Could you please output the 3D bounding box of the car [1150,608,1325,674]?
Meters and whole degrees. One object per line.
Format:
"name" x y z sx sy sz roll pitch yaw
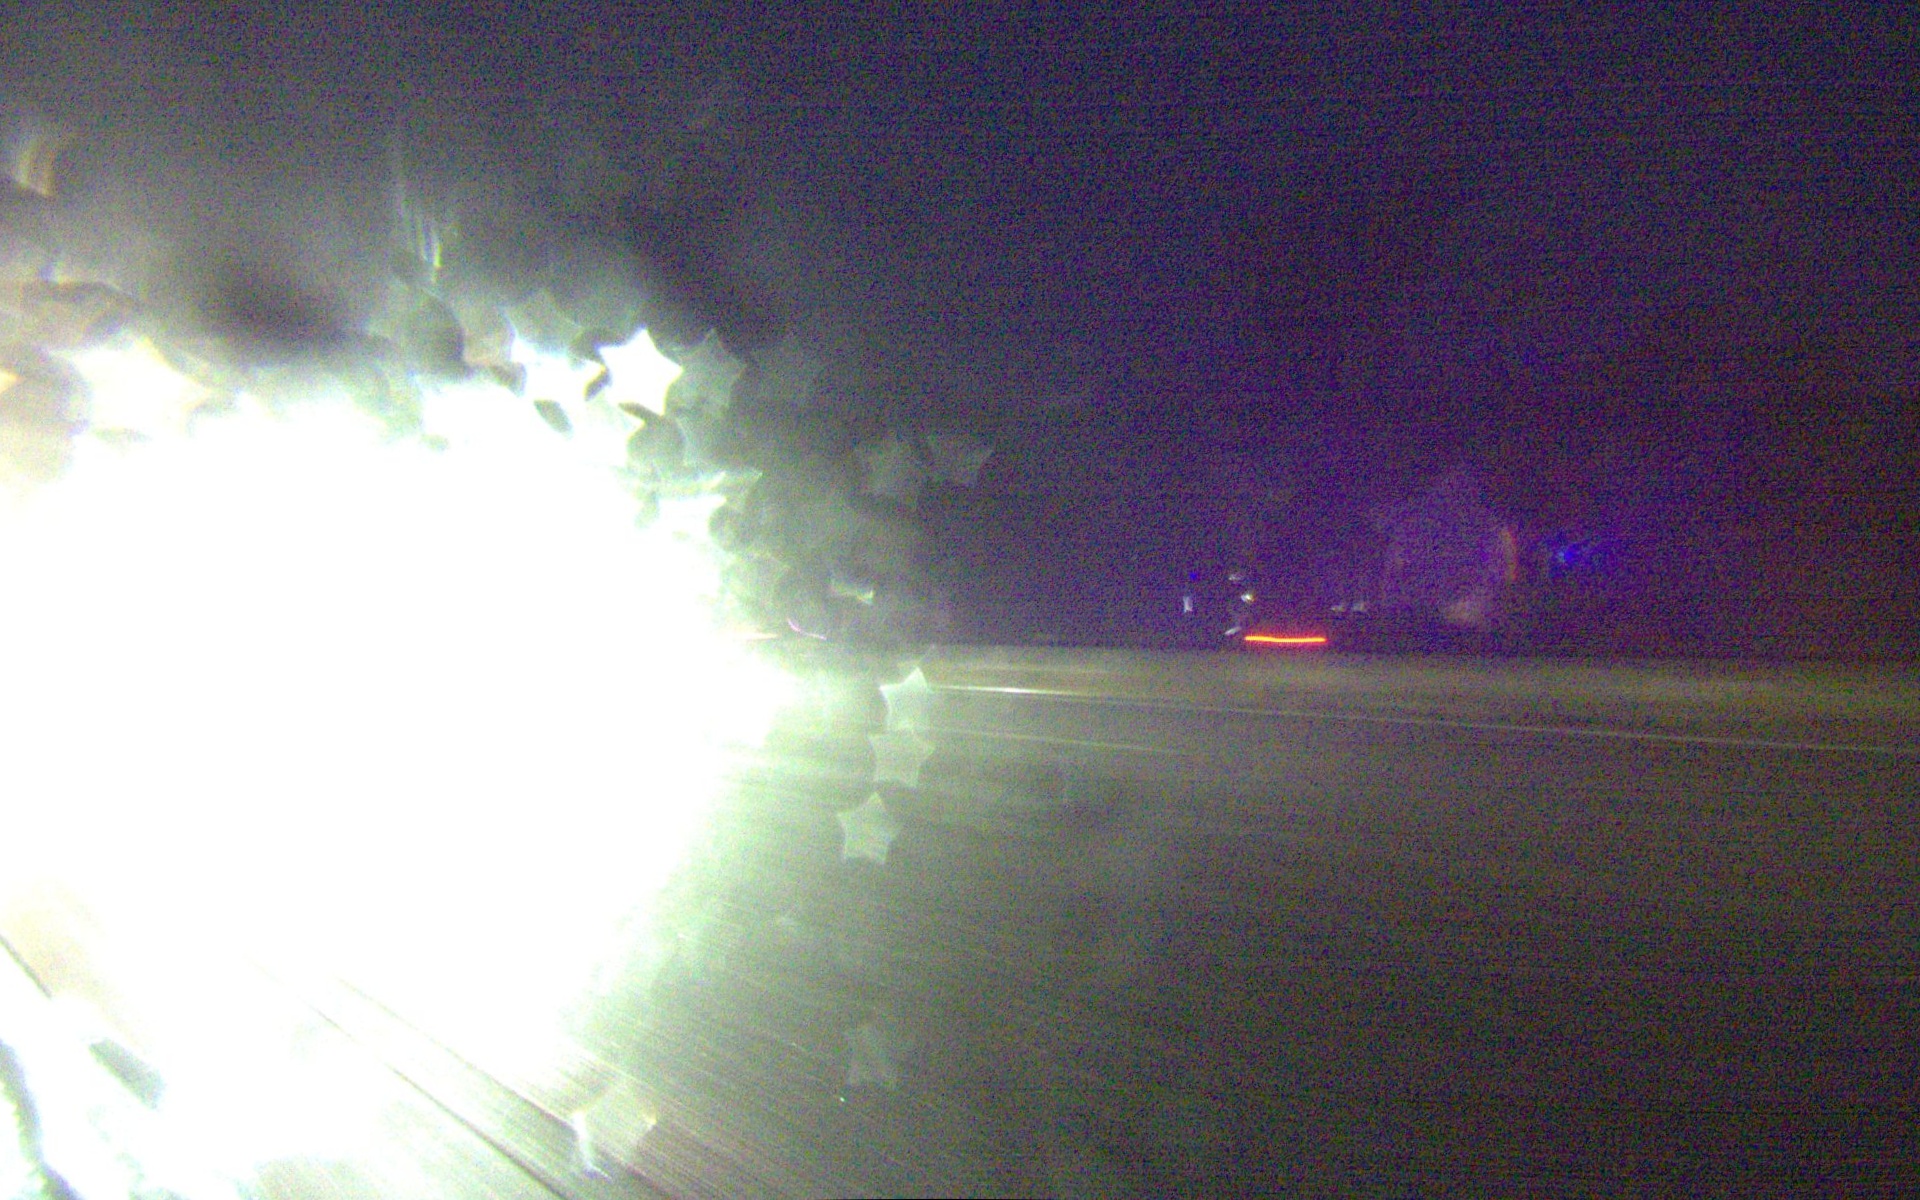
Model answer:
"car" 7.963 1.127 29.310 4.562 1.734 1.860 -1 0 42

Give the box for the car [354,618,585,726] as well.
"car" -7.979 1.050 16.324 3.998 1.452 1.973 -1 0 41

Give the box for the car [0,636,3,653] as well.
"car" -95.216 4.389 98.985 4.586 1.572 1.972 -1 0 42

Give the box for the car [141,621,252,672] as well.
"car" -25.461 1.489 33.692 5.163 1.487 1.973 -1 0 42

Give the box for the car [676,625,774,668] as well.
"car" -10.563 2.048 45.372 4.557 1.734 1.862 -1 0 38

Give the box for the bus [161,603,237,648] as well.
"bus" -81.365 2.596 108.019 16.537 4.482 3.335 -1 0 42

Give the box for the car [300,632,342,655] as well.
"car" -53.182 3.599 84.166 4.262 1.734 1.860 -1 0 41

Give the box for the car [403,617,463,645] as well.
"car" -34.849 1.994 66.887 4.557 1.734 1.862 -1 0 38

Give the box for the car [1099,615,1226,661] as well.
"car" 6.932 1.276 34.801 3.892 1.444 1.861 -1 0 40
